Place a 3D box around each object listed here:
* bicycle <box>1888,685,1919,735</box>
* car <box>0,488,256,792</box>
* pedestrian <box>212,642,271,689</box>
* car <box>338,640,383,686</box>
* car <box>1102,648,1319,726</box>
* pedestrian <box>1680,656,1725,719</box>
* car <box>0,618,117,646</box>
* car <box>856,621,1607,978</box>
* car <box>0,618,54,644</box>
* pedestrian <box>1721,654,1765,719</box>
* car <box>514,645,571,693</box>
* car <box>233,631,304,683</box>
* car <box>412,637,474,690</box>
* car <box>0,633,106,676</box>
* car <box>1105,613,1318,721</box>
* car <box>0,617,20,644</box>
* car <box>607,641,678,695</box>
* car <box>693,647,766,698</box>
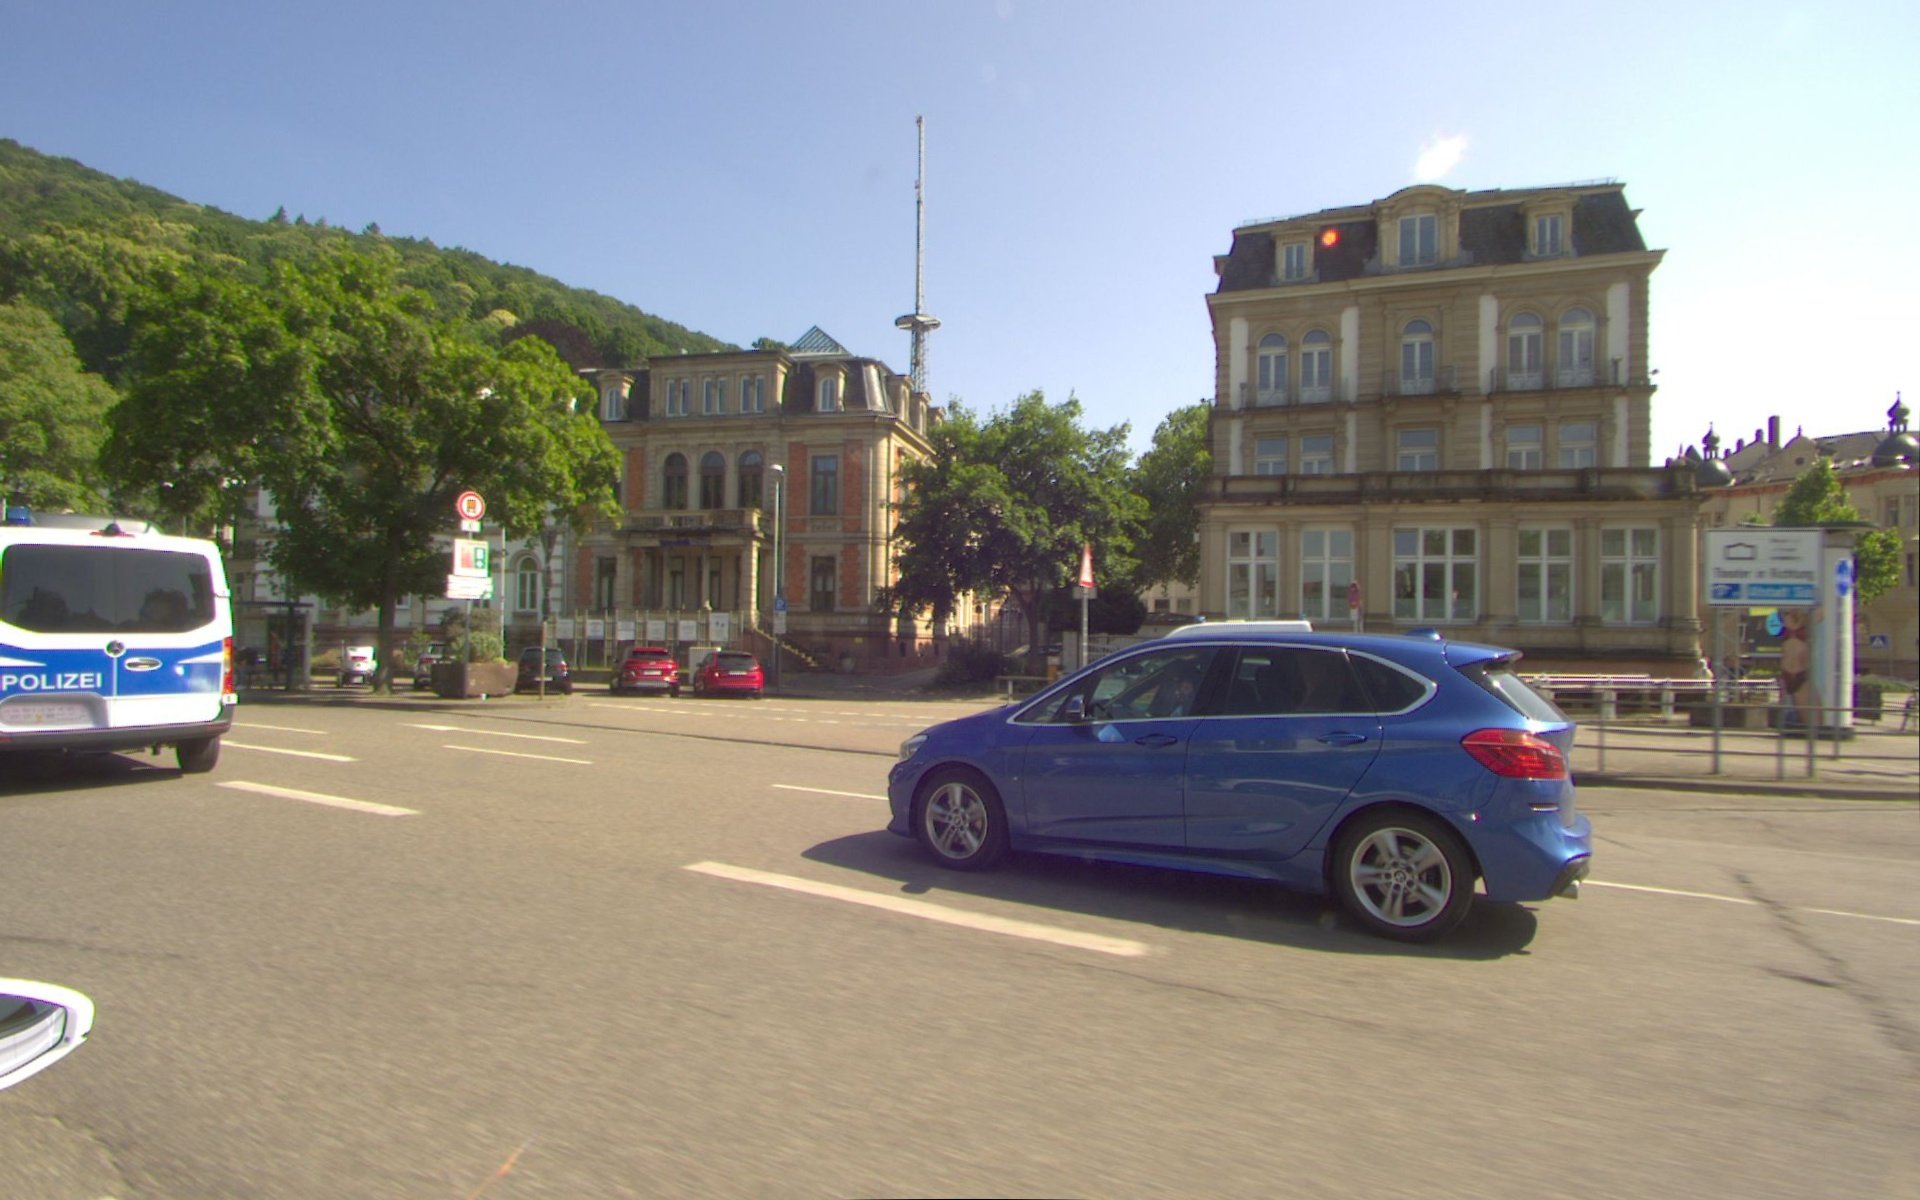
[{"bbox_3d":[22.780,2.613,23.731,0.496,1.113,1.817,0,-2,20],"label":"bicycle"},{"bbox_3d":[-9.426,0.424,10.504,4.870,2.540,2.066,-2,-3,39],"label":"car"},{"bbox_3d":[-19.206,1.741,26.781,0.776,1.213,1.022,1,-2,1],"label":"pedestrian"},{"bbox_3d":[-20.579,2.152,34.349,1.186,1.501,2.275,2,-3,-34],"label":"car"},{"bbox_3d":[5.872,2.023,23.833,4.787,1.646,1.822,1,-2,12],"label":"car"},{"bbox_3d":[21.315,2.486,28.761,0.736,1.762,0.821,1,-2,7],"label":"pedestrian"},{"bbox_3d":[-45.263,1.604,50.306,1.828,1.353,4.048,0,-2,20],"label":"car"},{"bbox_3d":[1.550,0.962,6.316,4.210,1.560,1.717,0,-3,32],"label":"car"},{"bbox_3d":[-49.784,1.583,51.441,1.789,1.353,4.474,0,-2,20],"label":"car"},{"bbox_3d":[21.940,2.415,28.067,0.707,1.774,0.702,1,-2,7],"label":"pedestrian"},{"bbox_3d":[-13.443,2.177,32.176,1.580,1.434,3.809,2,-3,-24],"label":"car"},{"bbox_3d":[-24.482,1.992,35.557,1.690,1.717,4.253,2,-3,-30],"label":"car"},{"bbox_3d":[-17.397,2.089,33.679,1.689,1.650,4.297,2,-3,-28],"label":"car"},{"bbox_3d":[-33.863,2.016,37.413,1.799,1.479,4.095,2,-3,-24],"label":"car"},{"bbox_3d":[6.545,1.720,26.422,5.218,2.636,2.000,1,-2,13],"label":"car"},{"bbox_3d":[-53.826,1.632,54.007,1.844,1.494,4.152,0,-2,17],"label":"car"},{"bbox_3d":[-10.202,2.138,32.006,1.722,1.594,3.866,2,-3,-24],"label":"car"},{"bbox_3d":[-7.172,2.209,30.930,1.720,1.436,3.693,2,-3,-20],"label":"car"}]
